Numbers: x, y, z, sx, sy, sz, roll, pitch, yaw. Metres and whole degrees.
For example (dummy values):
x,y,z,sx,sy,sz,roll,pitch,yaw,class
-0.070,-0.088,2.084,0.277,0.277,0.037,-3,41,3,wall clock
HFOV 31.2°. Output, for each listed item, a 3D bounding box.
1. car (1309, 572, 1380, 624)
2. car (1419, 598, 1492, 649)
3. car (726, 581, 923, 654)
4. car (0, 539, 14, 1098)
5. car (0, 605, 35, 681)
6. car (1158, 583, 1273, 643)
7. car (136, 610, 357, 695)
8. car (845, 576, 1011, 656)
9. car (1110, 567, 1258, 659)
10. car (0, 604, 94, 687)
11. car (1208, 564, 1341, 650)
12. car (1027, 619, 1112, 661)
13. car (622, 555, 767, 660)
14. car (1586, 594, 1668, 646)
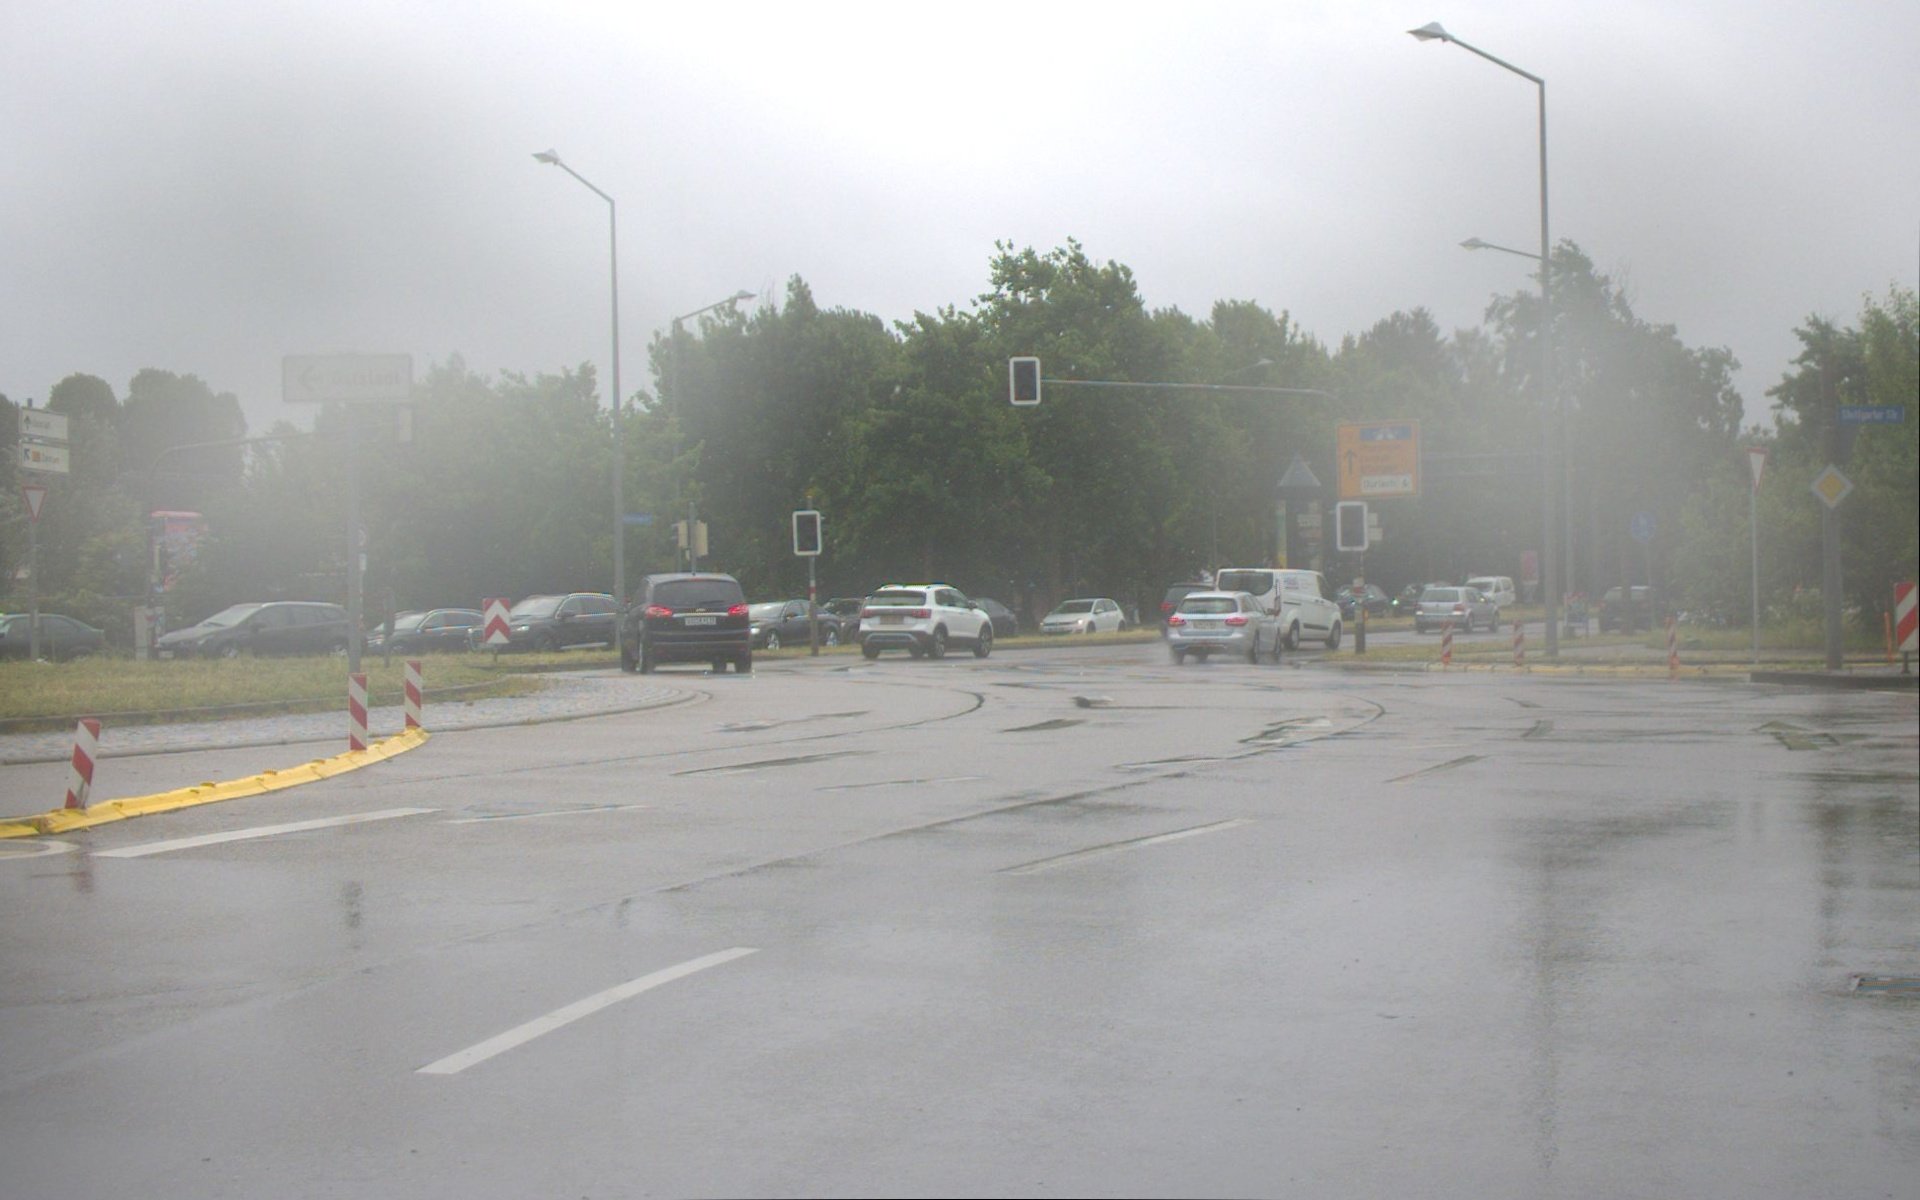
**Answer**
x,y,z,sx,sy,sz,roll,pitch,yaw,class
15.559,-0.069,138.820,1.790,2.007,3.669,1,-1,24,car
15.248,0.705,105.746,1.690,1.487,3.248,0,1,18,car
-3.269,0.432,83.152,4.378,1.642,1.789,2,-1,-27,car
-3.254,0.573,6.006,1.783,1.512,4.331,1,-1,3,car
-22.312,0.892,74.511,3.987,1.642,1.789,2,-1,-31,car
6.678,0.357,89.696,1.692,1.487,3.245,1,-1,31,car
-14.436,1.069,69.622,3.987,1.642,1.789,2,-1,-31,car
-0.649,0.357,73.829,1.684,1.642,3.939,1,-1,32,car
4.564,0.258,70.789,1.783,1.804,4.839,-1,0,-12,car
-19.975,0.906,70.347,3.987,1.642,1.789,2,-1,-31,car
7.773,0.187,84.778,1.786,2.029,3.993,1,-1,29,car
3.687,1.343,114.745,1.628,1.371,4.245,1,-1,19,car
-4.455,0.131,57.140,1.783,1.642,4.001,1,-1,-13,car
19.943,0.597,102.709,1.691,1.487,3.247,0,1,25,car
